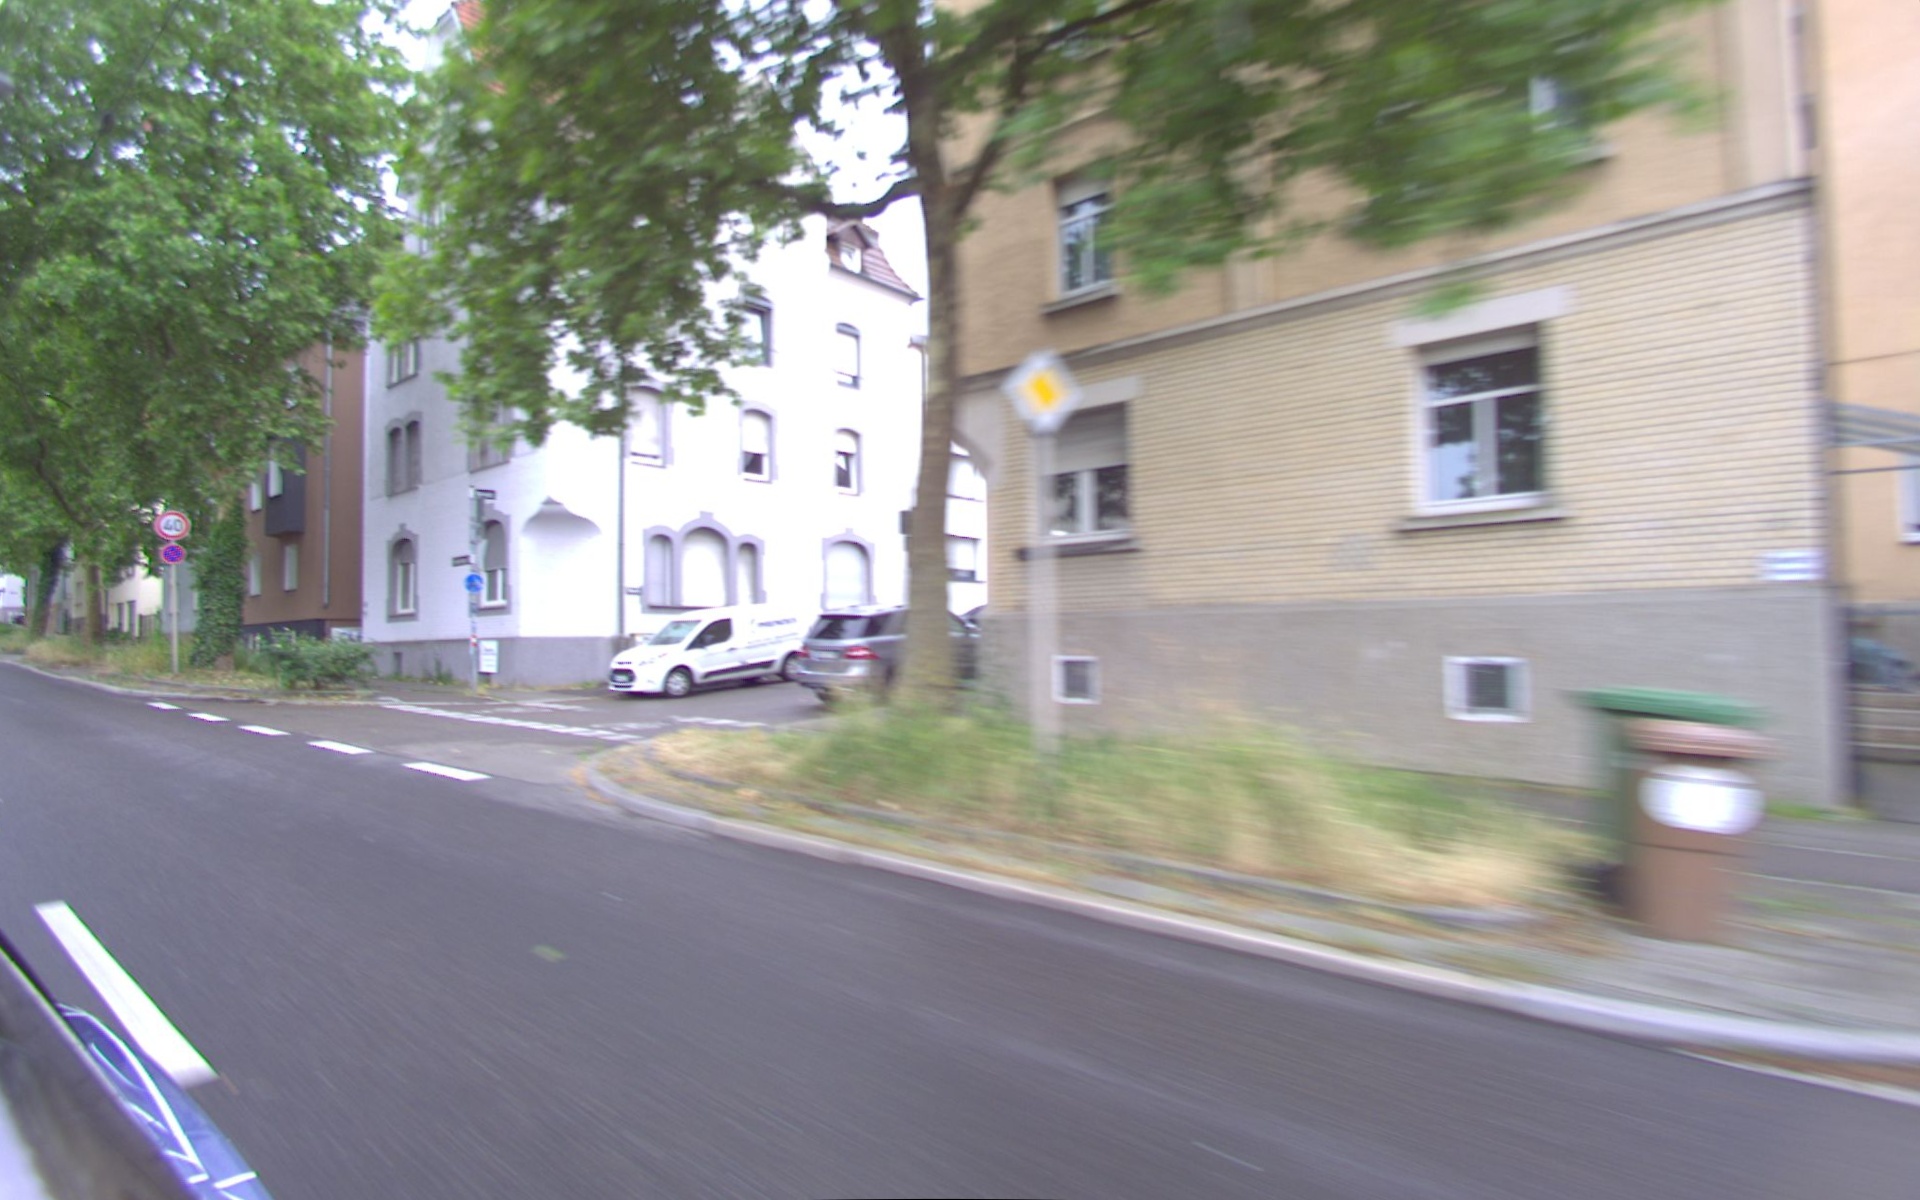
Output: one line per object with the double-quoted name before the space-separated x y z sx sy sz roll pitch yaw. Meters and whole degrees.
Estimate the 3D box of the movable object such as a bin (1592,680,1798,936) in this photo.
"movable object such as a bin" 3.529 0.942 4.869 0.762 1.065 0.529 -1 -3 41

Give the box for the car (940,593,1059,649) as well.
"car" 1.216 0.580 29.875 1.634 1.394 3.534 -1 2 40

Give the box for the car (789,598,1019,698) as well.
"car" -0.943 0.796 18.863 2.042 1.623 4.072 -1 0 41

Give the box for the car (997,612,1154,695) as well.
"car" 2.664 1.130 22.744 1.640 1.529 3.784 -1 1 40

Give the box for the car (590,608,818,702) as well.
"car" -5.579 1.125 22.539 2.019 1.791 4.623 -1 0 40

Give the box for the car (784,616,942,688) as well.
"car" -2.465 1.291 26.576 1.792 1.498 3.946 -1 2 41

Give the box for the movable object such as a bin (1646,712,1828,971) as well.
"movable object such as a bin" 3.303 0.977 4.305 0.581 0.935 0.506 -1 -3 41
